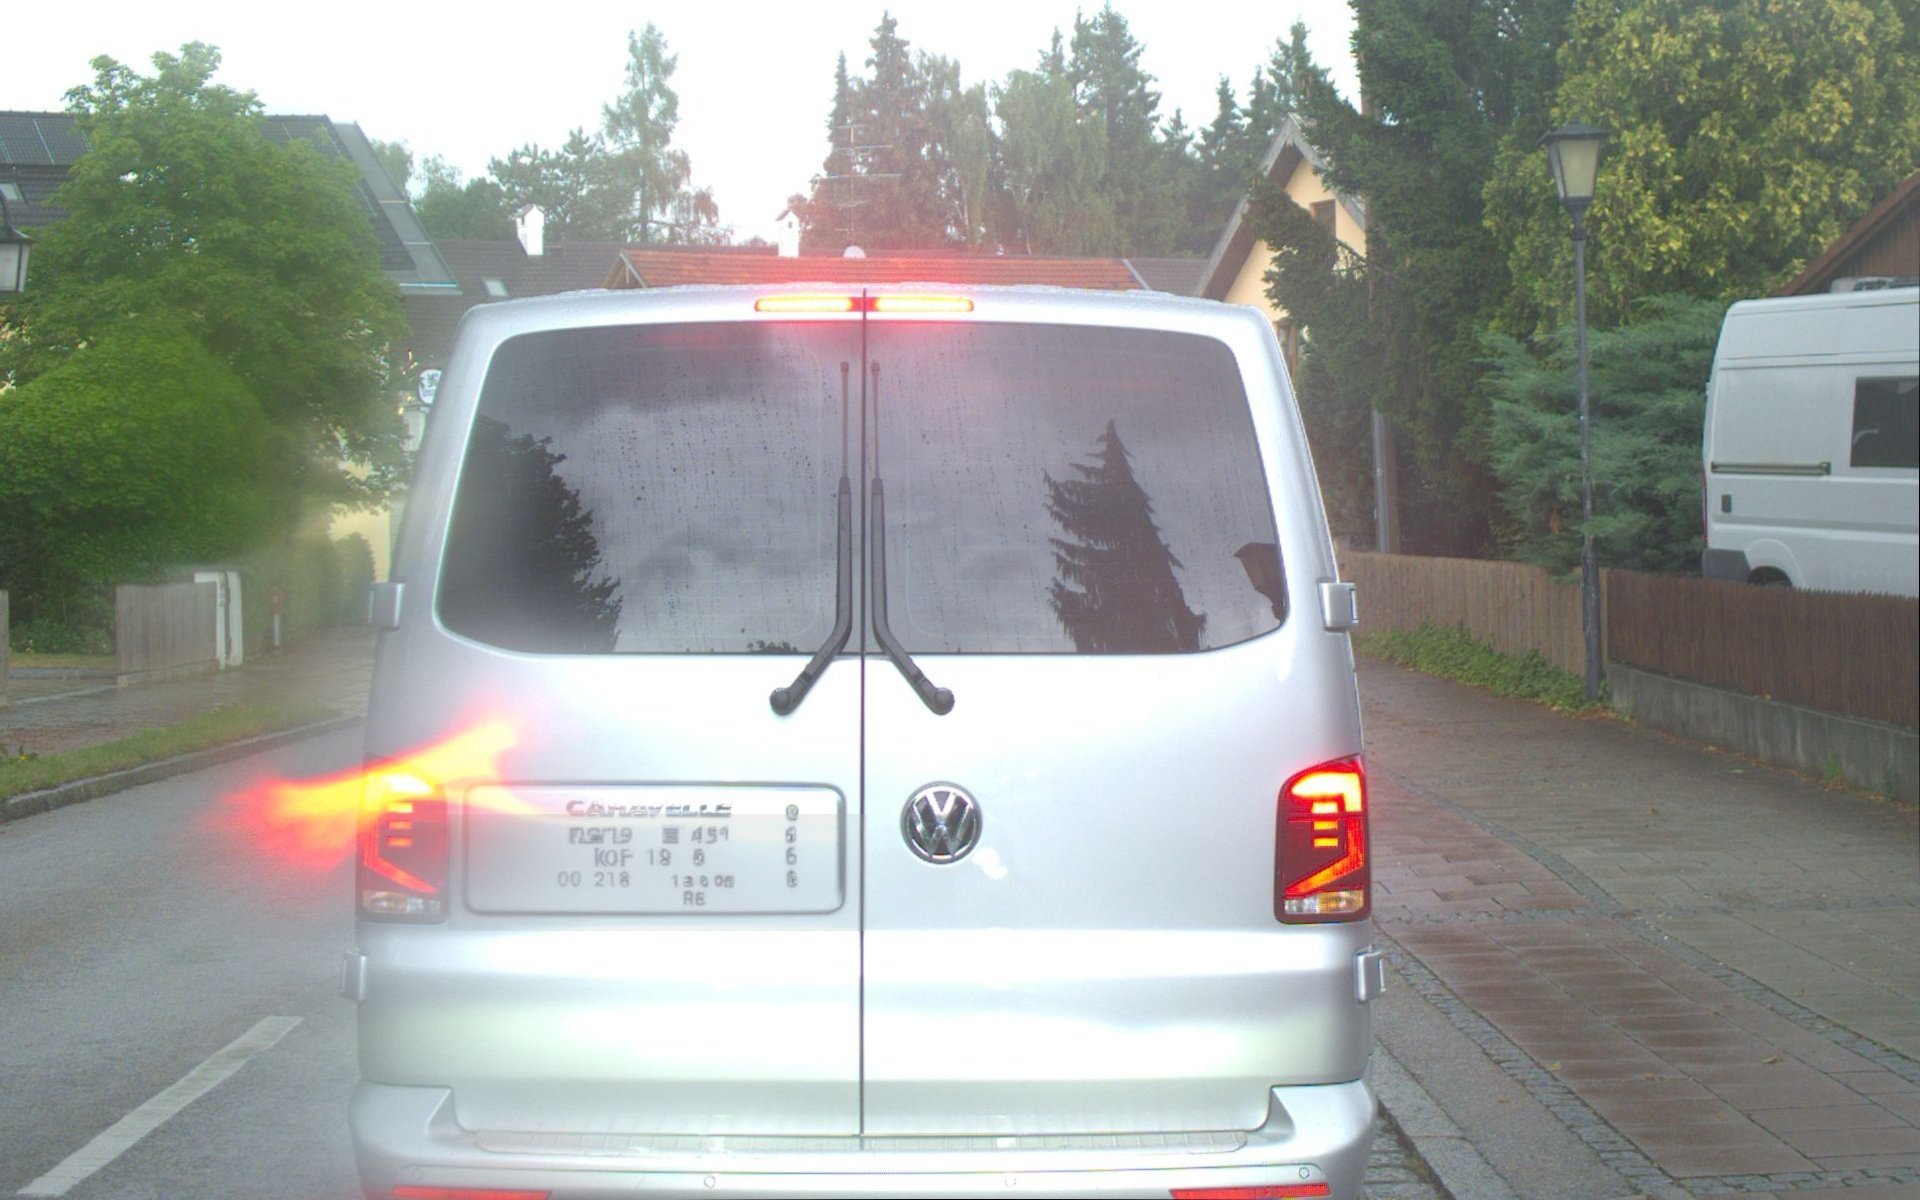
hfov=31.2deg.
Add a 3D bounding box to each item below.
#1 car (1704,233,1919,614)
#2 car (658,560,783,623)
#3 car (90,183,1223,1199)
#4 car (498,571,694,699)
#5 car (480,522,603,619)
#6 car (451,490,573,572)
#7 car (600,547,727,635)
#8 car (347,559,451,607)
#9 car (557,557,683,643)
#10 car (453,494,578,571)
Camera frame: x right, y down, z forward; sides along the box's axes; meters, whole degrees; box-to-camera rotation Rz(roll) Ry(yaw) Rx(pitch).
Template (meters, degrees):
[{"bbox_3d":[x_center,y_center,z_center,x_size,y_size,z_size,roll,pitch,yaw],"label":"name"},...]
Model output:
[{"bbox_3d":[6.361,-0.982,19.910,1.993,2.166,4.954,1,0,-14],"label":"car"},{"bbox_3d":[-5.241,-0.193,74.852,1.779,1.306,3.777,1,0,-19],"label":"car"},{"bbox_3d":[-0.436,0.342,7.552,1.801,2.007,4.000,1,0,2],"label":"car"},{"bbox_3d":[-3.981,0.363,38.077,1.780,1.306,3.776,1,0,-1],"label":"car"},{"bbox_3d":[-9.089,-0.630,74.410,1.993,2.007,4.001,1,0,-16],"label":"car"},{"bbox_3d":[-11.584,-1.766,88.739,1.993,2.007,4.001,1,0,-25],"label":"car"},{"bbox_3d":[-4.730,-0.153,54.470,1.779,1.306,3.776,1,0,-8],"label":"car"},{"bbox_3d":[-16.139,-0.505,98.781,1.780,1.306,3.776,1,0,-28],"label":"car"},{"bbox_3d":[-8.287,-0.011,83.432,1.993,2.007,4.001,1,0,-21],"label":"car"},{"bbox_3d":[-11.610,-1.741,89.542,1.993,1.920,4.001,1,0,-26],"label":"car"}]
